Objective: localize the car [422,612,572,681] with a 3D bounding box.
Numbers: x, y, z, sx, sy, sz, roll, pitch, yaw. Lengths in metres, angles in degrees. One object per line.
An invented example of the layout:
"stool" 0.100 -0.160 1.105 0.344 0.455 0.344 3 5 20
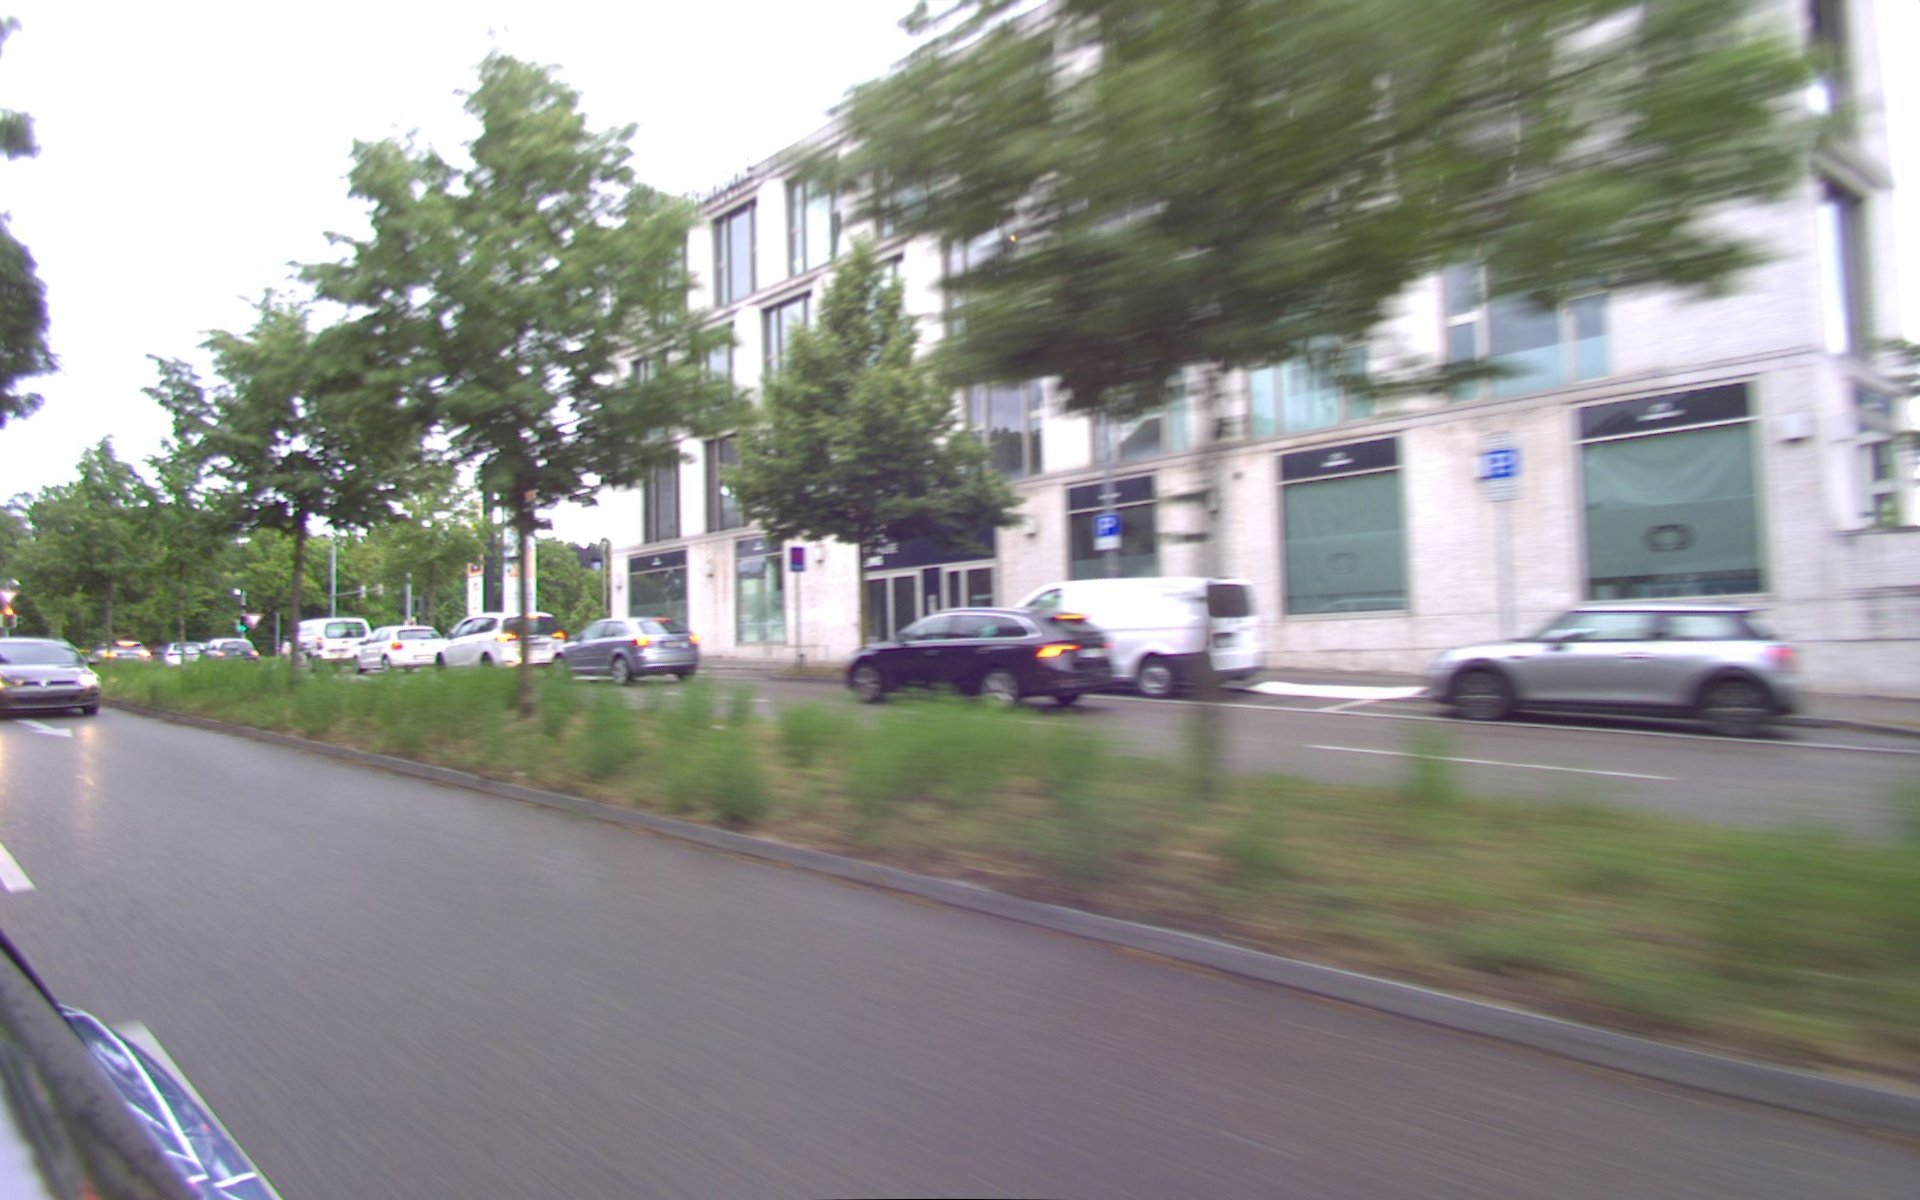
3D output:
"car" -11.989 1.163 26.059 4.672 1.613 1.810 -2 -2 42

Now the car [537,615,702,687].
"car" -7.471 1.131 22.052 3.994 1.422 1.624 -4 -4 41

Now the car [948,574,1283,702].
"car" 2.465 0.620 17.013 5.256 1.829 2.100 -2 -2 40

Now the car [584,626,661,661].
"car" -14.450 1.847 43.463 1.553 1.387 3.280 -3 -2 15

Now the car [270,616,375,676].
"car" -22.162 1.632 35.113 4.771 1.816 1.824 -5 -3 42

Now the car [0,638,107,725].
"car" -17.821 1.469 19.158 3.996 1.450 1.881 -1 -2 40

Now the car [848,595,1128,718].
"car" 0.317 0.778 15.074 4.015 1.593 1.677 -2 -1 41

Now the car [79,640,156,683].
"car" -36.194 2.665 43.437 4.161 1.587 1.830 -6 -4 40

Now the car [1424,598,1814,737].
"car" 7.740 0.710 12.068 3.696 1.395 1.678 -1 0 40

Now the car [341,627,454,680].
"car" -17.130 1.607 30.747 4.058 1.479 1.725 -2 -3 41

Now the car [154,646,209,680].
"car" -39.607 3.195 51.468 3.702 1.588 1.632 -5 -5 43

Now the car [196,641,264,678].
"car" -31.440 2.565 43.553 3.750 1.471 1.696 -5 -5 43
